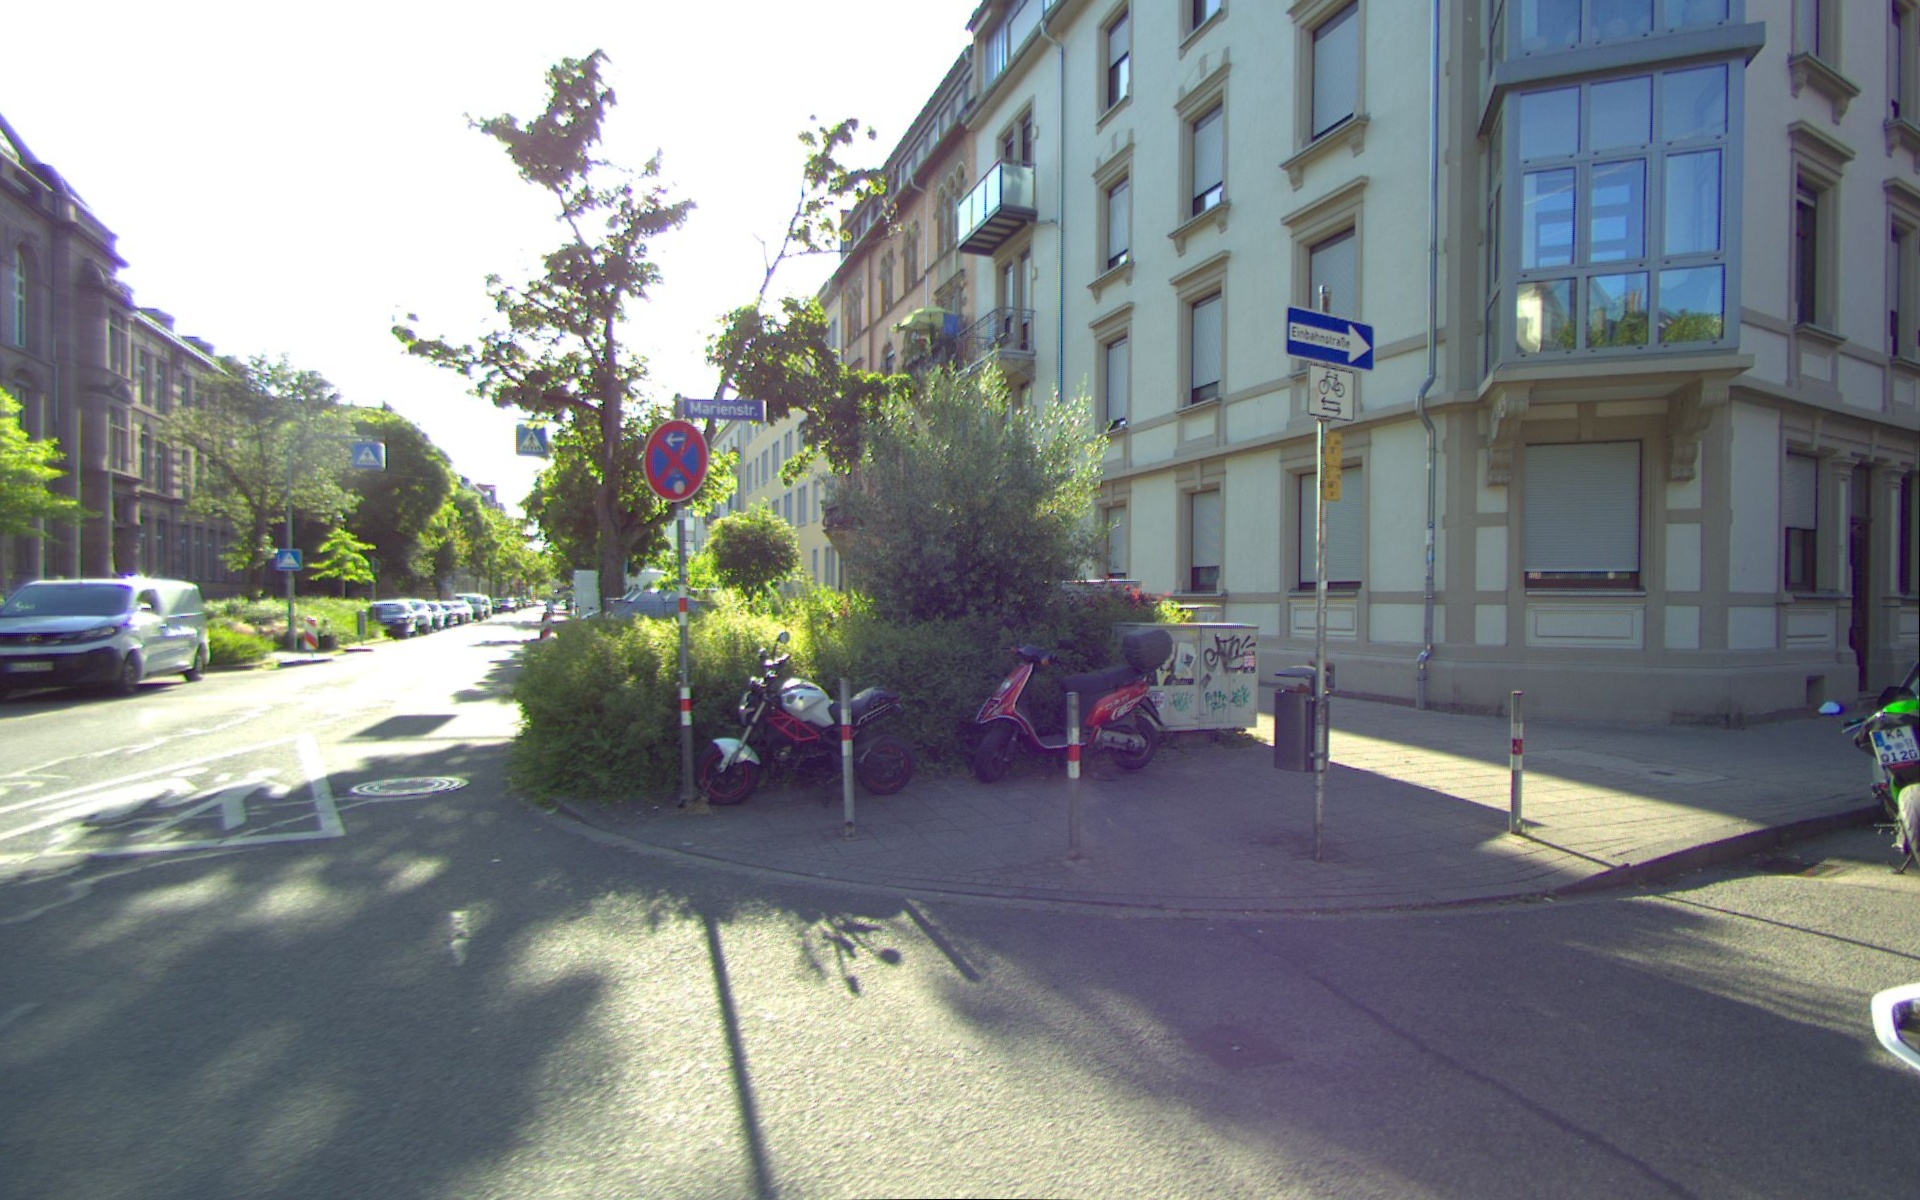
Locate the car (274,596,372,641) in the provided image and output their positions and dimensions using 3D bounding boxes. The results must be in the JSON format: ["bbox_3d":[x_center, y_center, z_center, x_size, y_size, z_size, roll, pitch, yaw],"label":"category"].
[{"bbox_3d":[-20.146,0.558,31.935,1.711,1.322,3.983,0,0,-19],"label":"car"}]

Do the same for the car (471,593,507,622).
[{"bbox_3d":[-34.430,0.528,73.531,1.969,2.040,3.983,0,0,-19],"label":"car"}]

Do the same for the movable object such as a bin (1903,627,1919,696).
[{"bbox_3d":[13.925,0.880,14.271,0.505,0.968,0.618,0,2,-30],"label":"movable object such as a bin"}]

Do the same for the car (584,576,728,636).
[{"bbox_3d":[-10.936,0.215,36.130,4.835,2.040,1.991,0,0,-20],"label":"car"}]

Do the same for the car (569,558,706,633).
[{"bbox_3d":[-12.383,-0.145,38.547,4.839,2.741,2.124,0,0,-23],"label":"car"}]

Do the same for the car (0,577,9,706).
[{"bbox_3d":[-12.084,0.526,10.416,1.858,1.596,4.122,0,0,-23],"label":"car"}]

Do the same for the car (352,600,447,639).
[{"bbox_3d":[-18.067,0.592,32.568,1.968,1.192,3.772,0,0,-18],"label":"car"}]

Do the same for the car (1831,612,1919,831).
[{"bbox_3d":[8.531,0.857,7.532,3.883,1.503,1.774,0,1,-28],"label":"car"}]

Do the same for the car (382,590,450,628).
[{"bbox_3d":[-25.338,0.416,46.937,1.968,1.701,4.421,0,0,-18],"label":"car"}]

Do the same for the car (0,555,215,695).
[{"bbox_3d":[-14.576,0.355,16.996,1.971,2.041,4.625,-2,1,-22],"label":"car"}]

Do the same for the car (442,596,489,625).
[{"bbox_3d":[-30.863,0.635,62.828,1.968,1.701,4.421,0,0,-18],"label":"car"}]

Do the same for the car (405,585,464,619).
[{"bbox_3d":[-27.264,0.117,52.227,1.968,1.701,4.421,0,0,-18],"label":"car"}]

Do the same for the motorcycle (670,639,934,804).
[{"bbox_3d":[-1.165,0.862,7.419,1.839,1.104,0.639,1,0,-15],"label":"motorcycle"}]

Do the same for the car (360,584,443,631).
[{"bbox_3d":[-21.610,0.288,39.059,1.968,1.701,4.421,0,0,-18],"label":"car"}]

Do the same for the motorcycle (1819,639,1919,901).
[{"bbox_3d":[5.840,0.925,5.981,1.982,1.351,0.671,0,-2,-37],"label":"motorcycle"}]

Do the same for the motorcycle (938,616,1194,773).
[{"bbox_3d":[0.865,0.767,8.350,2.008,1.212,0.612,1,0,-11],"label":"motorcycle"}]
